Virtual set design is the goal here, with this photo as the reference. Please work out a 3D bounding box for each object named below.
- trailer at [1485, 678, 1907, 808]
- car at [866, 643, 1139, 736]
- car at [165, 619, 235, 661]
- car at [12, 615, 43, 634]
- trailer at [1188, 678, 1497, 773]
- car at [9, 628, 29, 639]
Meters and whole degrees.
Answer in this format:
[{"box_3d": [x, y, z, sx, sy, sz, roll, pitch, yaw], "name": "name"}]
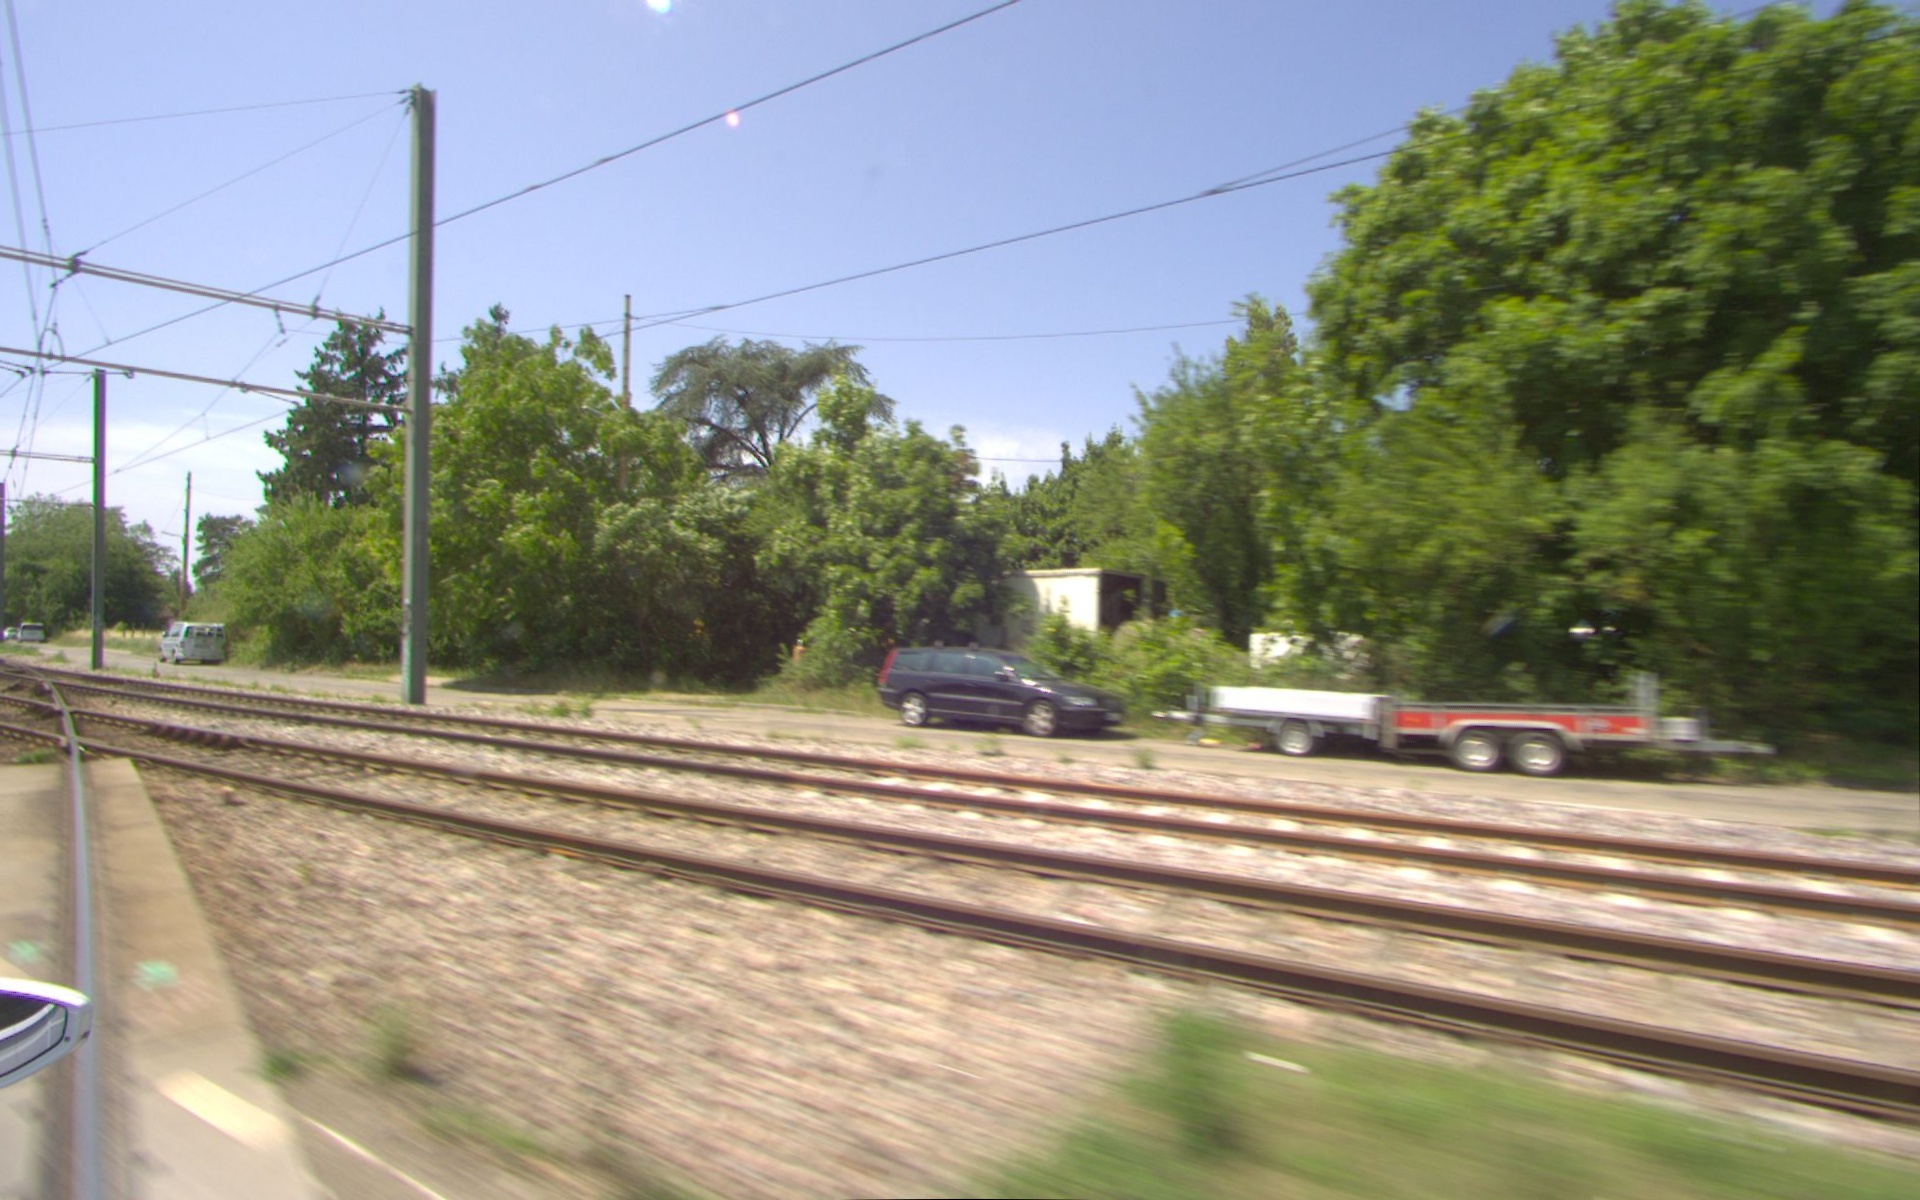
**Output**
[{"box_3d": [8.741, 1.637, 12.267, 3.947, 1.238, 1.458, -2, -2, 36], "name": "trailer"}, {"box_3d": [0.674, 1.502, 17.882, 4.677, 1.444, 1.792, -2, -2, 35], "name": "car"}, {"box_3d": [-36.308, 1.921, 47.809, 2.024, 1.905, 5.018, 1, -2, -45], "name": "car"}, {"box_3d": [-93.156, 2.435, 100.026, 4.743, 1.825, 1.983, -2, -2, 43], "name": "car"}, {"box_3d": [5.454, 1.737, 14.487, 3.946, 1.007, 1.416, 0, -4, 35], "name": "trailer"}, {"box_3d": [-106.681, 3.805, 113.502, 3.429, 1.324, 1.421, -2, -2, 43], "name": "car"}]
